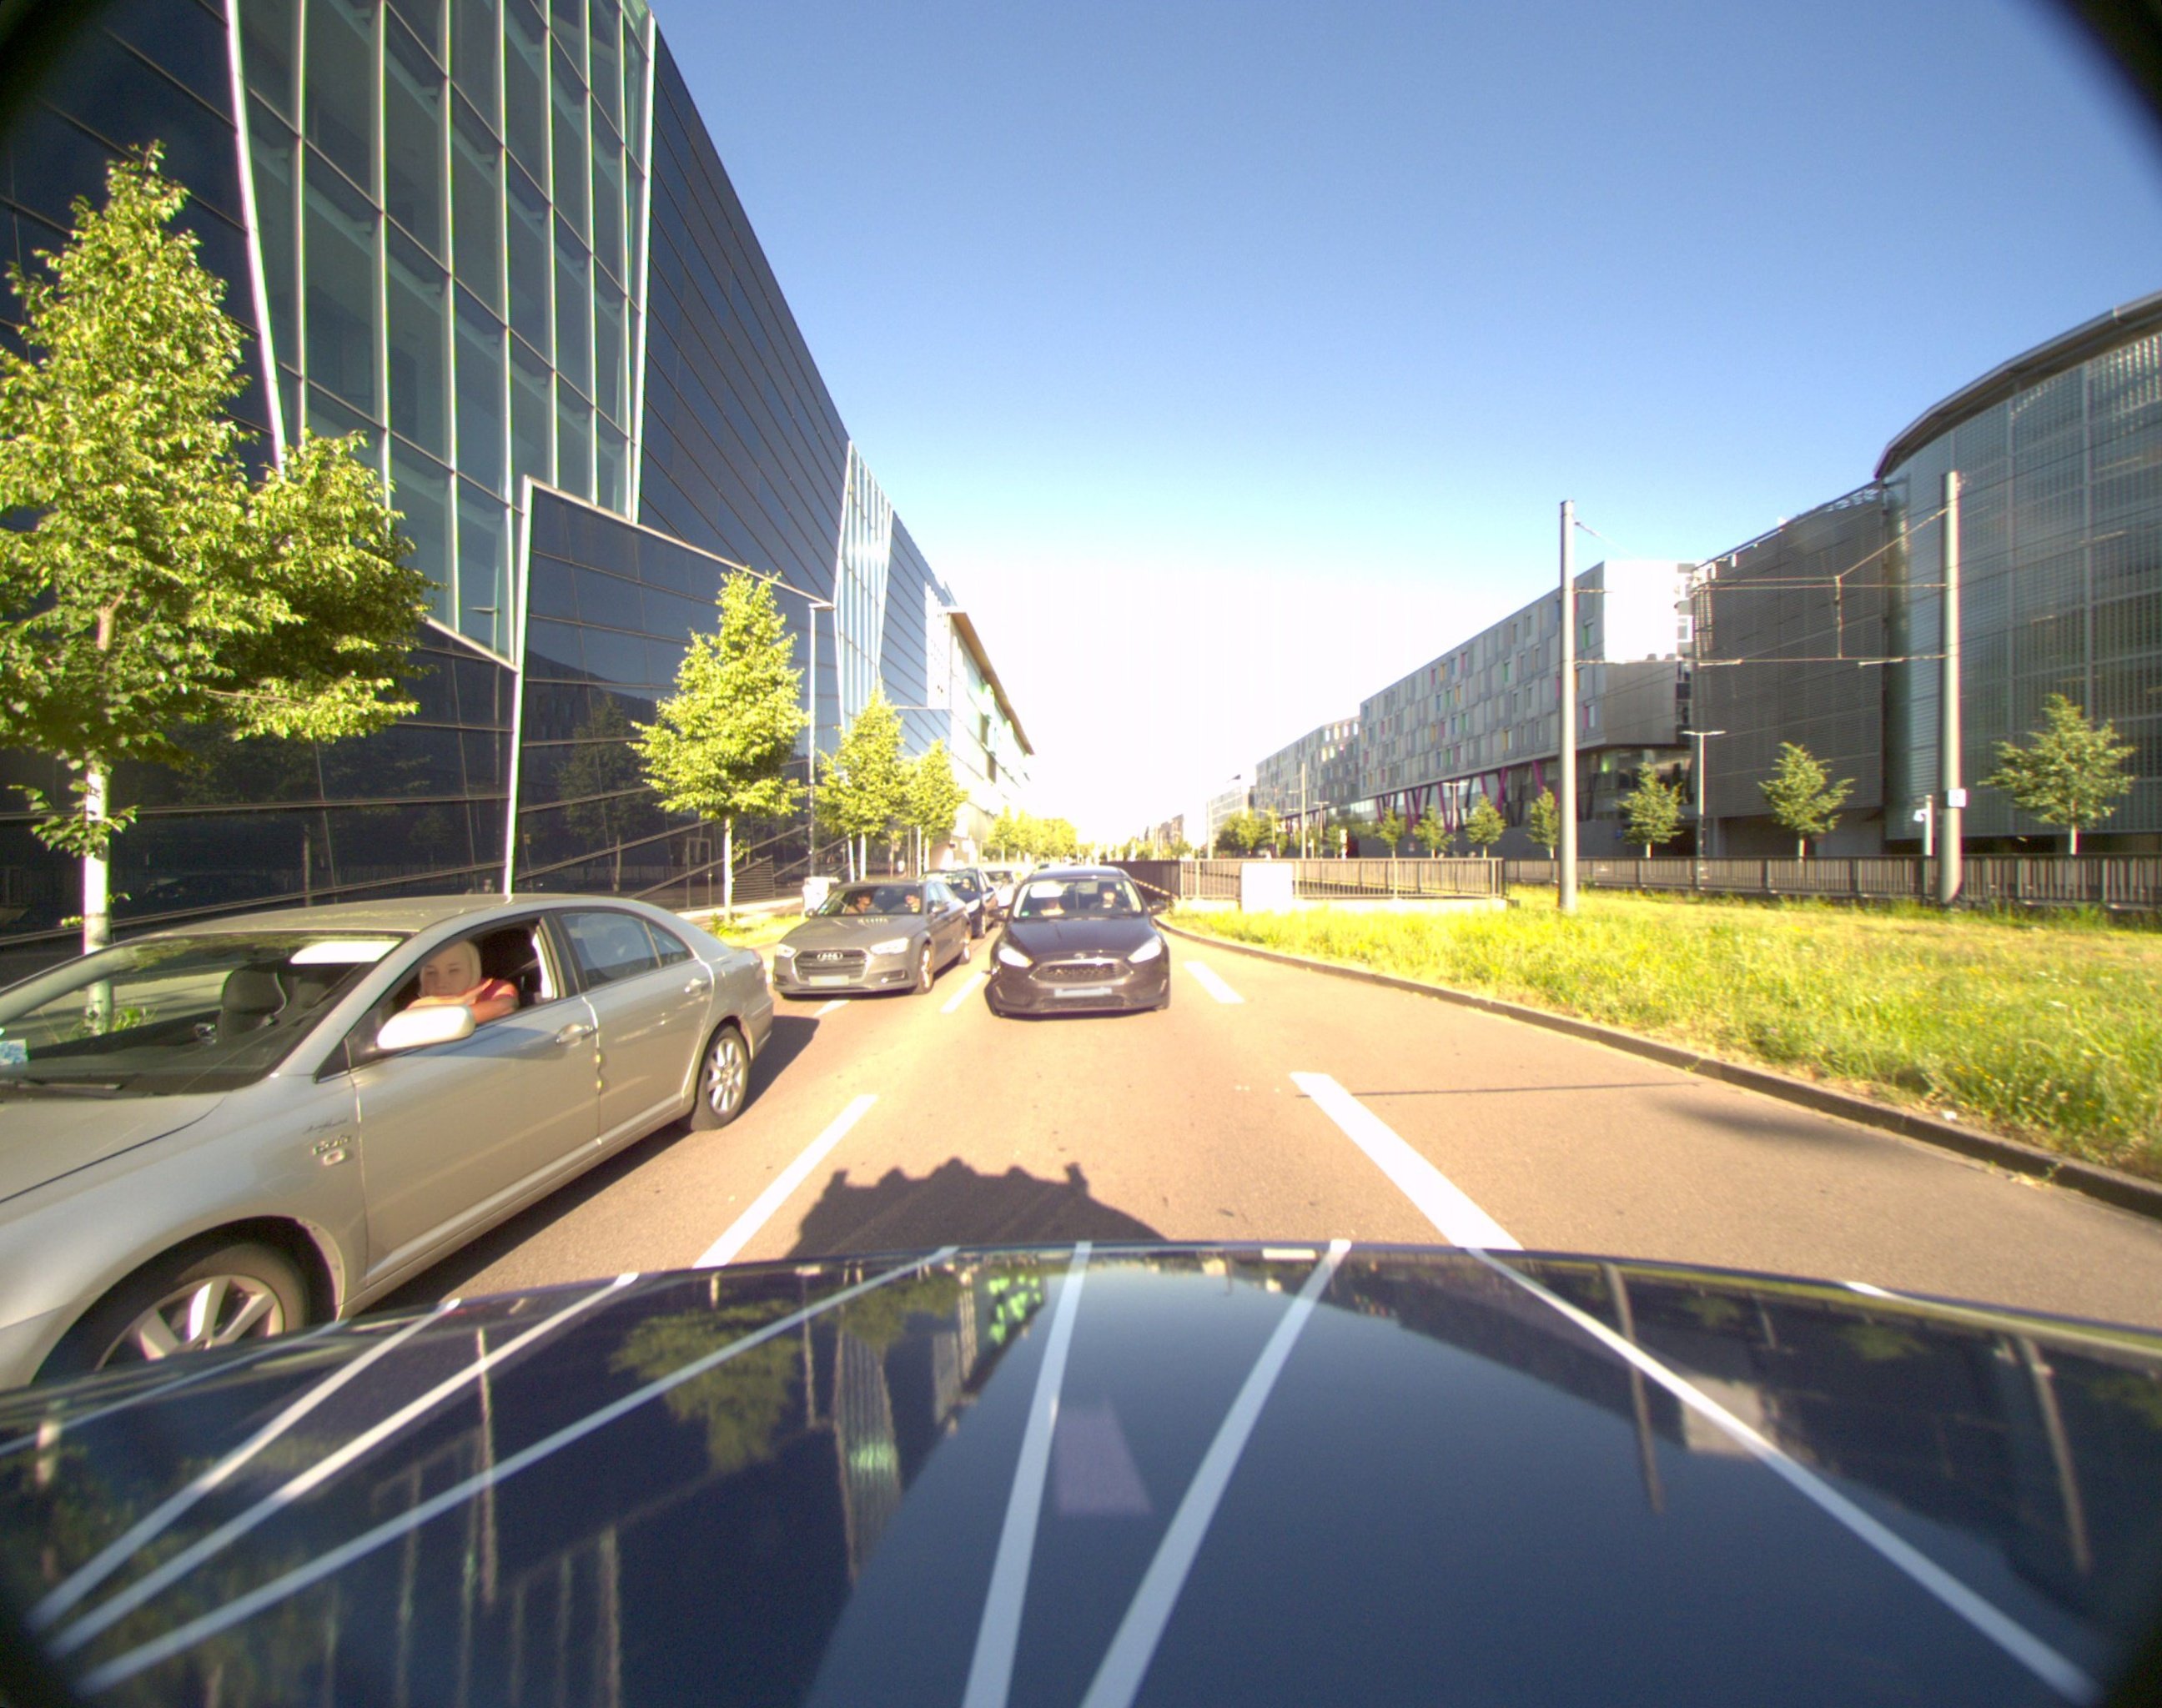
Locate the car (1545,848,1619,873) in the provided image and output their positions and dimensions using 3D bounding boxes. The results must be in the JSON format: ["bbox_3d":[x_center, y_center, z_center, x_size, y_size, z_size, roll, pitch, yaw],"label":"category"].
[{"bbox_3d":[31.877,0.386,48.482,1.998,1.492,4.244,-1,0,1],"label":"car"}]

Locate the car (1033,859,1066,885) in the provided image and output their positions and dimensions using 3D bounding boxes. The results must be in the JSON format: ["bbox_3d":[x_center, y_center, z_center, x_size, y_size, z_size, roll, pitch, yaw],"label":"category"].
[{"bbox_3d":[-2.015,1.133,49.536,1.907,1.612,4.000,0,0,1],"label":"car"}]

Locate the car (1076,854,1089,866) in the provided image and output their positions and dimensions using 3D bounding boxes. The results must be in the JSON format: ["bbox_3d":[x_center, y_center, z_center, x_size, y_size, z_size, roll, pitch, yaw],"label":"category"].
[{"bbox_3d":[0.212,0.977,125.847,1.998,2.002,4.000,-2,0,1],"label":"car"}]

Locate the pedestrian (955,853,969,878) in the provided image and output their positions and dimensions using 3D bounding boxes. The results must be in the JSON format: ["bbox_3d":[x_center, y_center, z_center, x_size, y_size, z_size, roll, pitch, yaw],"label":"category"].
[{"bbox_3d":[-8.921,0.851,57.047,0.828,1.814,0.905,3,0,0],"label":"pedestrian"}]

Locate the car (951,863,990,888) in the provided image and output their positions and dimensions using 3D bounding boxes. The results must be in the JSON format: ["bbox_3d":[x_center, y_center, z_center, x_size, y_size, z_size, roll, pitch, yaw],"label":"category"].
[{"bbox_3d":[-7.059,1.330,48.872,1.740,1.489,4.715,1,0,0],"label":"car"}]

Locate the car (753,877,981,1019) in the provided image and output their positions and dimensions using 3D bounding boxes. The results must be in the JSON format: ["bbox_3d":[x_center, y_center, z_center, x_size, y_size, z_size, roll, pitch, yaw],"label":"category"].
[{"bbox_3d":[-2.655,1.108,10.549,1.750,1.384,4.265,-2,0,3],"label":"car"}]

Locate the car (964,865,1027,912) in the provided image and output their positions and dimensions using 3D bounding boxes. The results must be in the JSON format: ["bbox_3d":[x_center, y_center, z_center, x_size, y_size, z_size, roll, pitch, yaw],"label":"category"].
[{"bbox_3d":[-2.934,1.150,26.684,1.753,1.469,3.418,-2,0,0],"label":"car"}]

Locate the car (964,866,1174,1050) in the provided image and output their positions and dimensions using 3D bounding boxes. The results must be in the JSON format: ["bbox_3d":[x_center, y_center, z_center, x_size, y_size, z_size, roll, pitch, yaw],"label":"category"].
[{"bbox_3d":[-0.085,0.947,8.920,1.787,1.499,4.590,-2,0,0],"label":"car"}]

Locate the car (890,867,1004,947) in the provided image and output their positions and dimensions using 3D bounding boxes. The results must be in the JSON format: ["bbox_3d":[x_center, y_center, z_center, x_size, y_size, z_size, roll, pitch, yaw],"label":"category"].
[{"bbox_3d":[-2.836,1.073,16.932,1.753,1.469,3.972,-2,0,0],"label":"car"}]

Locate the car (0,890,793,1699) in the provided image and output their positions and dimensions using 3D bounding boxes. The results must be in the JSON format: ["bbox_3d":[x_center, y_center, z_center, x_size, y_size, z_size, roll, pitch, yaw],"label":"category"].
[{"bbox_3d":[-3.069,1.017,3.268,1.750,1.473,4.628,-1,0,2],"label":"car"}]
